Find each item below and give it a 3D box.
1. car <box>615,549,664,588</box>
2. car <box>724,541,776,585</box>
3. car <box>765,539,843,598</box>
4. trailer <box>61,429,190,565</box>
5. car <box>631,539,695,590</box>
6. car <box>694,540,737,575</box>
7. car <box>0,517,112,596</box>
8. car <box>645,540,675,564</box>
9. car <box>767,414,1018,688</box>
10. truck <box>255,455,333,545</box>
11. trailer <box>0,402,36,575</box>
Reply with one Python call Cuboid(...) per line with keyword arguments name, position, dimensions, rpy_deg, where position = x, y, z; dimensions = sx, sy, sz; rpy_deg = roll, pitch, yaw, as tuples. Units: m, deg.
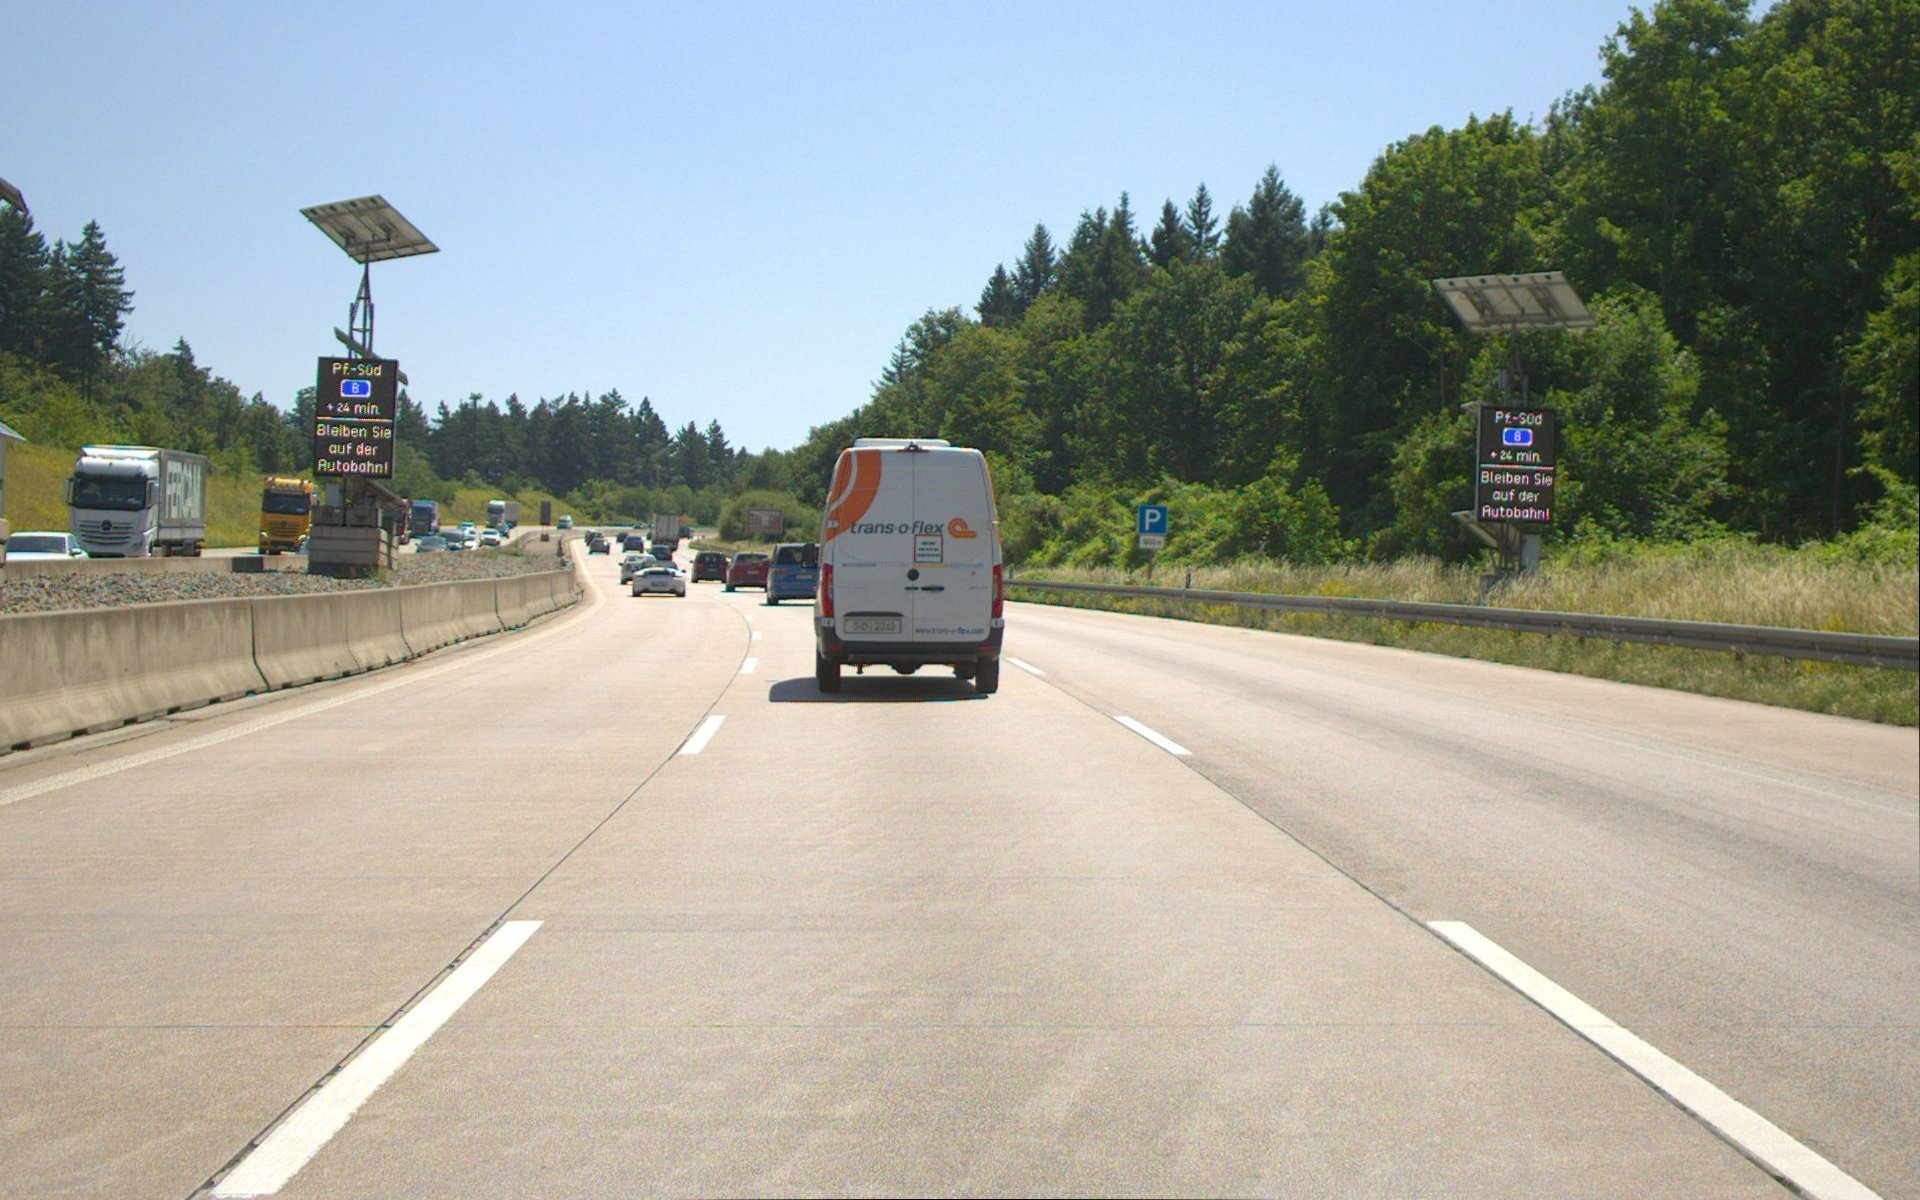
Cuboid(name="car", position=(-14.920, -1.483, 160.221), dimensions=(1.993, 1.678, 4.000), rpy_deg=(3, 0, -3))
Cuboid(name="car", position=(-8.473, -1.504, 138.991), dimensions=(1.993, 1.678, 4.000), rpy_deg=(3, 0, -3))
Cuboid(name="car", position=(-4.787, -0.983, 105.031), dimensions=(1.993, 1.678, 4.001), rpy_deg=(3, 0, -7))
Cuboid(name="trailer", position=(-27.201, -3.297, 112.306), dimensions=(2.933, 4.154, 6.892), rpy_deg=(3, 0, -5))
Cuboid(name="car", position=(-10.451, -1.242, 121.212), dimensions=(1.993, 1.678, 4.000), rpy_deg=(3, 0, -3))
Cuboid(name="car", position=(-12.557, -2.194, 176.744), dimensions=(1.993, 1.678, 4.000), rpy_deg=(3, 0, -3))
Cuboid(name="car", position=(-19.987, -0.965, 75.228), dimensions=(1.993, 1.678, 4.000), rpy_deg=(0, 1, -2))
Cuboid(name="car", position=(-22.335, -3.533, 255.989), dimensions=(1.993, 1.678, 4.000), rpy_deg=(3, 0, -3))
Cuboid(name="car", position=(-0.854, -0.580, 38.576), dimensions=(2.226, 2.834, 5.455), rpy_deg=(1, 1, -7))
Cuboid(name="truck", position=(-34.682, -5.159, 179.442), dimensions=(2.913, 4.498, 11.261), rpy_deg=(1, 1, -6))
Cuboid(name="trailer", position=(-24.335, -2.706, 79.189), dimensions=(2.933, 4.154, 14.390), rpy_deg=(3, 0, -4))
